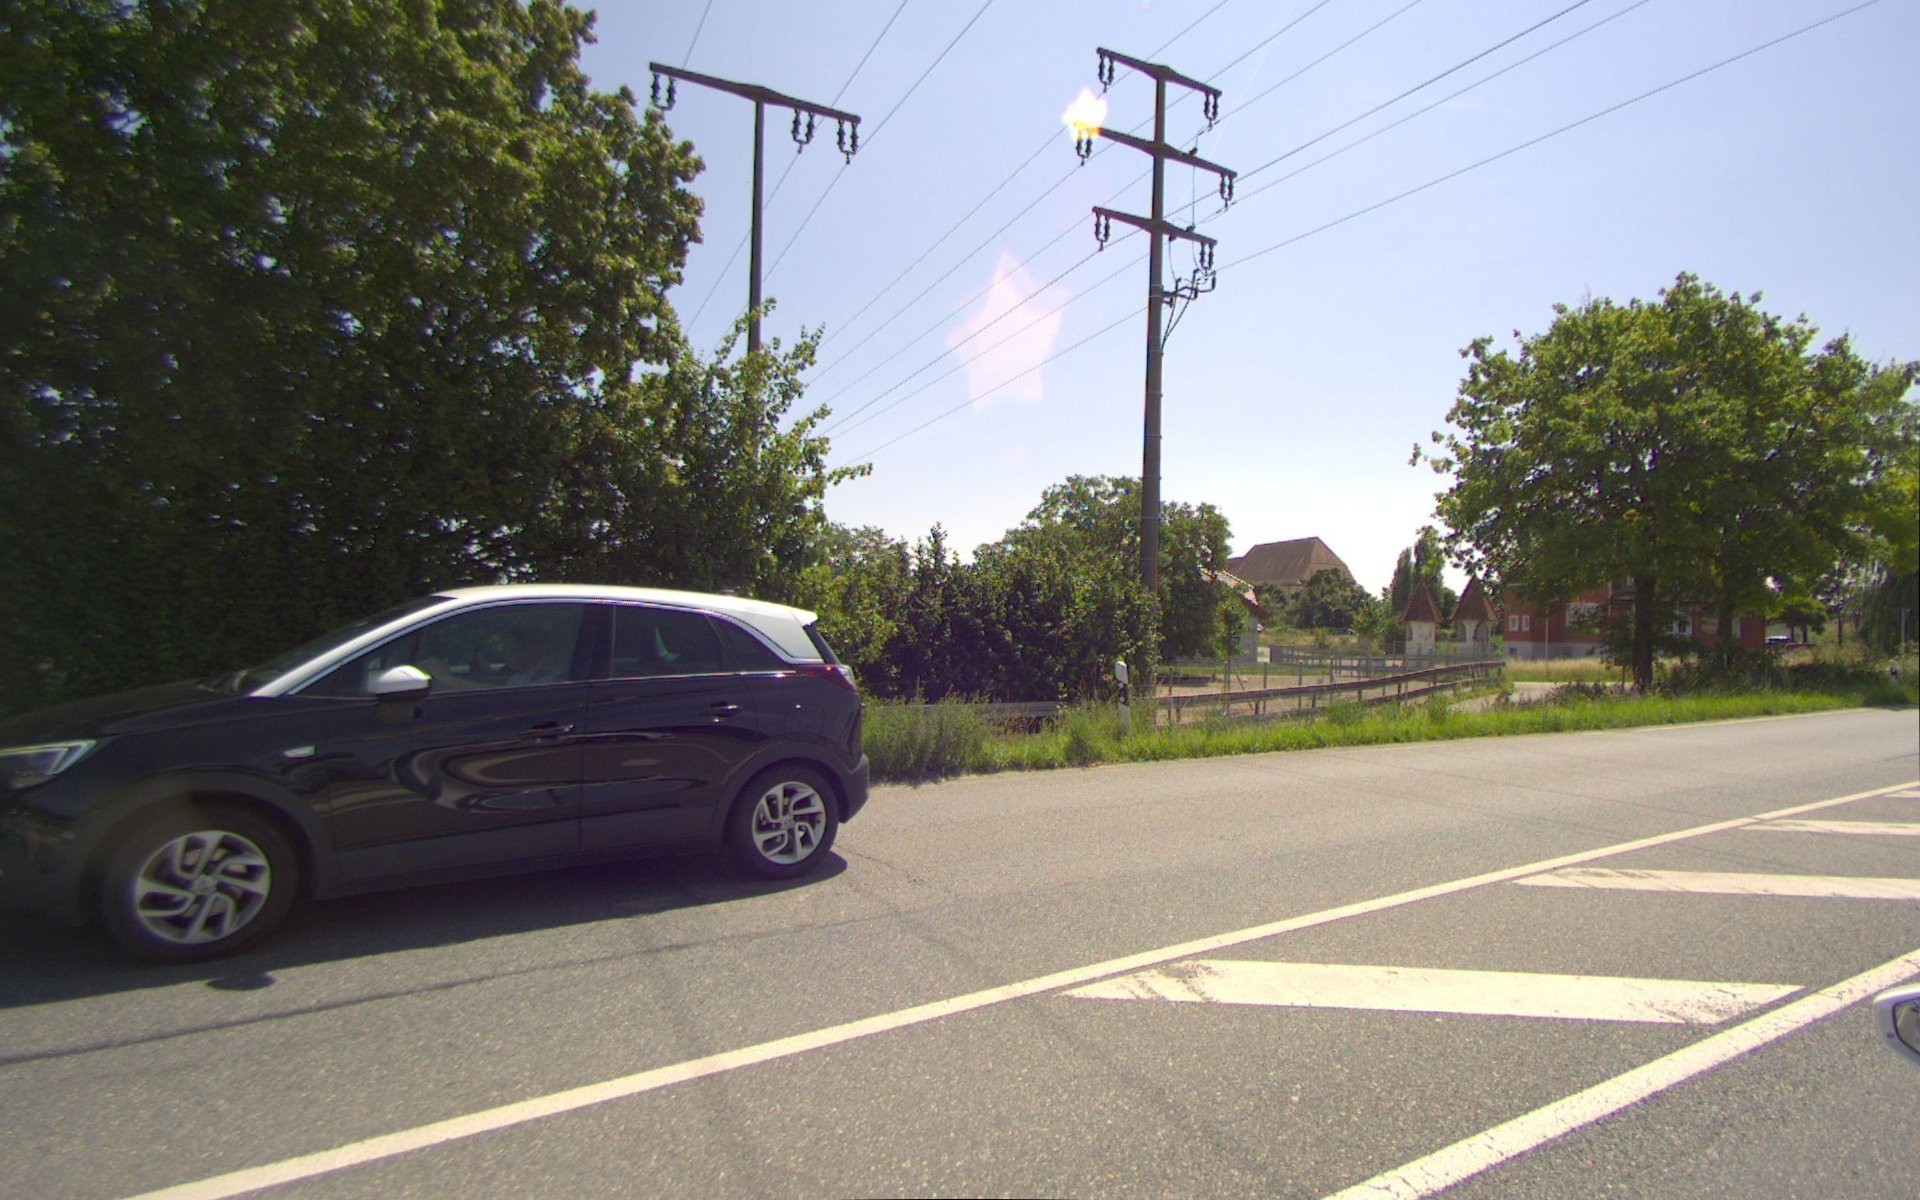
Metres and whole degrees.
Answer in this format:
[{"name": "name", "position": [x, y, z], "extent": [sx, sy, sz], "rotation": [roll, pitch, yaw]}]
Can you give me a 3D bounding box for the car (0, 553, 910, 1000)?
[{"name": "car", "position": [-2.393, 0.681, 5.408], "extent": [3.918, 1.611, 1.721], "rotation": [2, 0, -35]}]
